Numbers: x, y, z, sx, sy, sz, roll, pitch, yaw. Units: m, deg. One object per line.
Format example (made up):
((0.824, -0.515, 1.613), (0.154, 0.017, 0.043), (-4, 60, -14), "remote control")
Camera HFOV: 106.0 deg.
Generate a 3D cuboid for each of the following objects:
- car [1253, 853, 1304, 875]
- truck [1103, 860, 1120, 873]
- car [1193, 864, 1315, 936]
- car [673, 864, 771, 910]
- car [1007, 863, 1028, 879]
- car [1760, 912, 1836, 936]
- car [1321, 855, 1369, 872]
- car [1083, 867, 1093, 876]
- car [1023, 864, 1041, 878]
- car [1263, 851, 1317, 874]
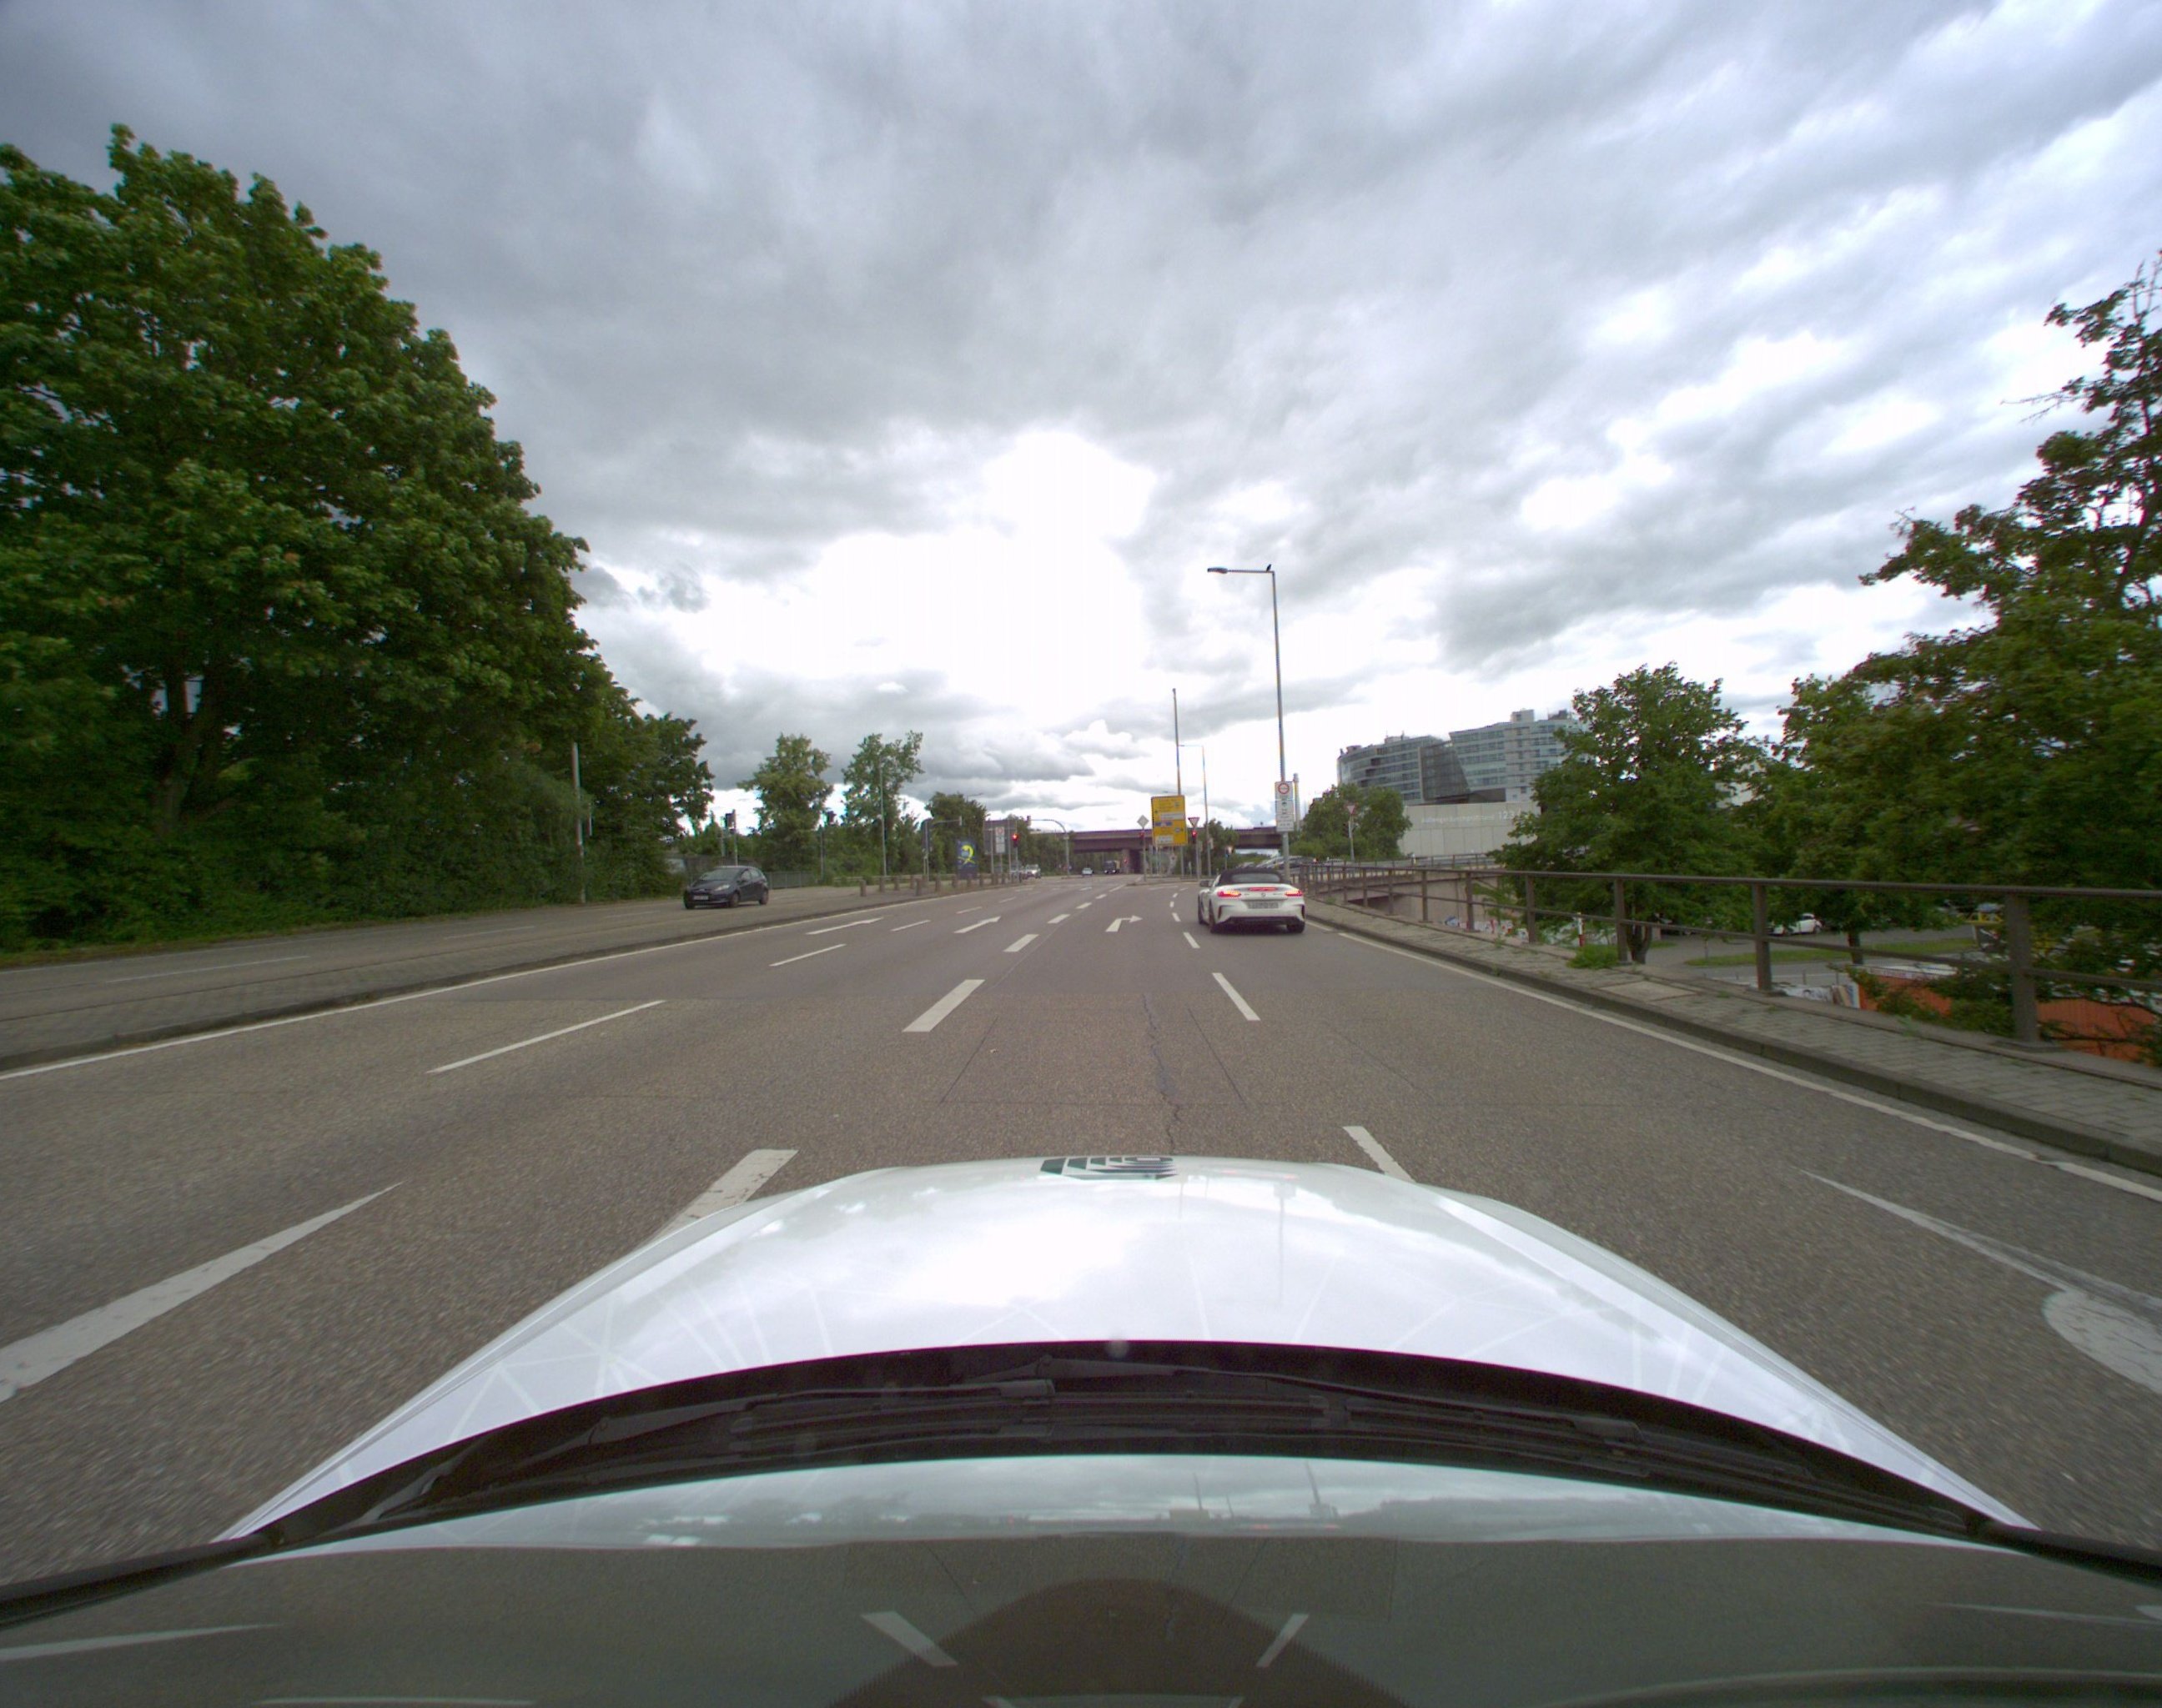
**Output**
((18.489, 0.953, 76.498), (4.350, 1.758, 2.003), (-3, -3, 5), "car")
((7.756, 3.133, 203.473), (2.906, 3.146, 10.139), (0, -1, 10), "truck")
((3.551, 0.899, 17.399), (1.868, 1.309, 3.874), (-1, -1, 2), "car")
((-12.498, 1.120, 28.571), (1.753, 1.484, 3.486), (0, 0, 2), "car")
((-6.854, 1.809, 88.309), (1.764, 1.645, 3.826), (0, -1, 2), "car")
((50.093, 4.890, 56.962), (3.637, 1.465, 1.852), (-1, -1, 1), "car")
((27.047, 0.992, 83.618), (4.350, 1.571, 2.003), (-3, -3, 5), "car")
((1.255, 3.150, 150.557), (1.734, 1.537, 3.674), (-1, 0, 3), "car")
((-5.758, 2.033, 96.492), (1.764, 1.633, 3.826), (0, -1, 2), "car")
((18.587, 0.790, 72.732), (4.350, 1.758, 2.003), (-3, -3, 5), "car")
